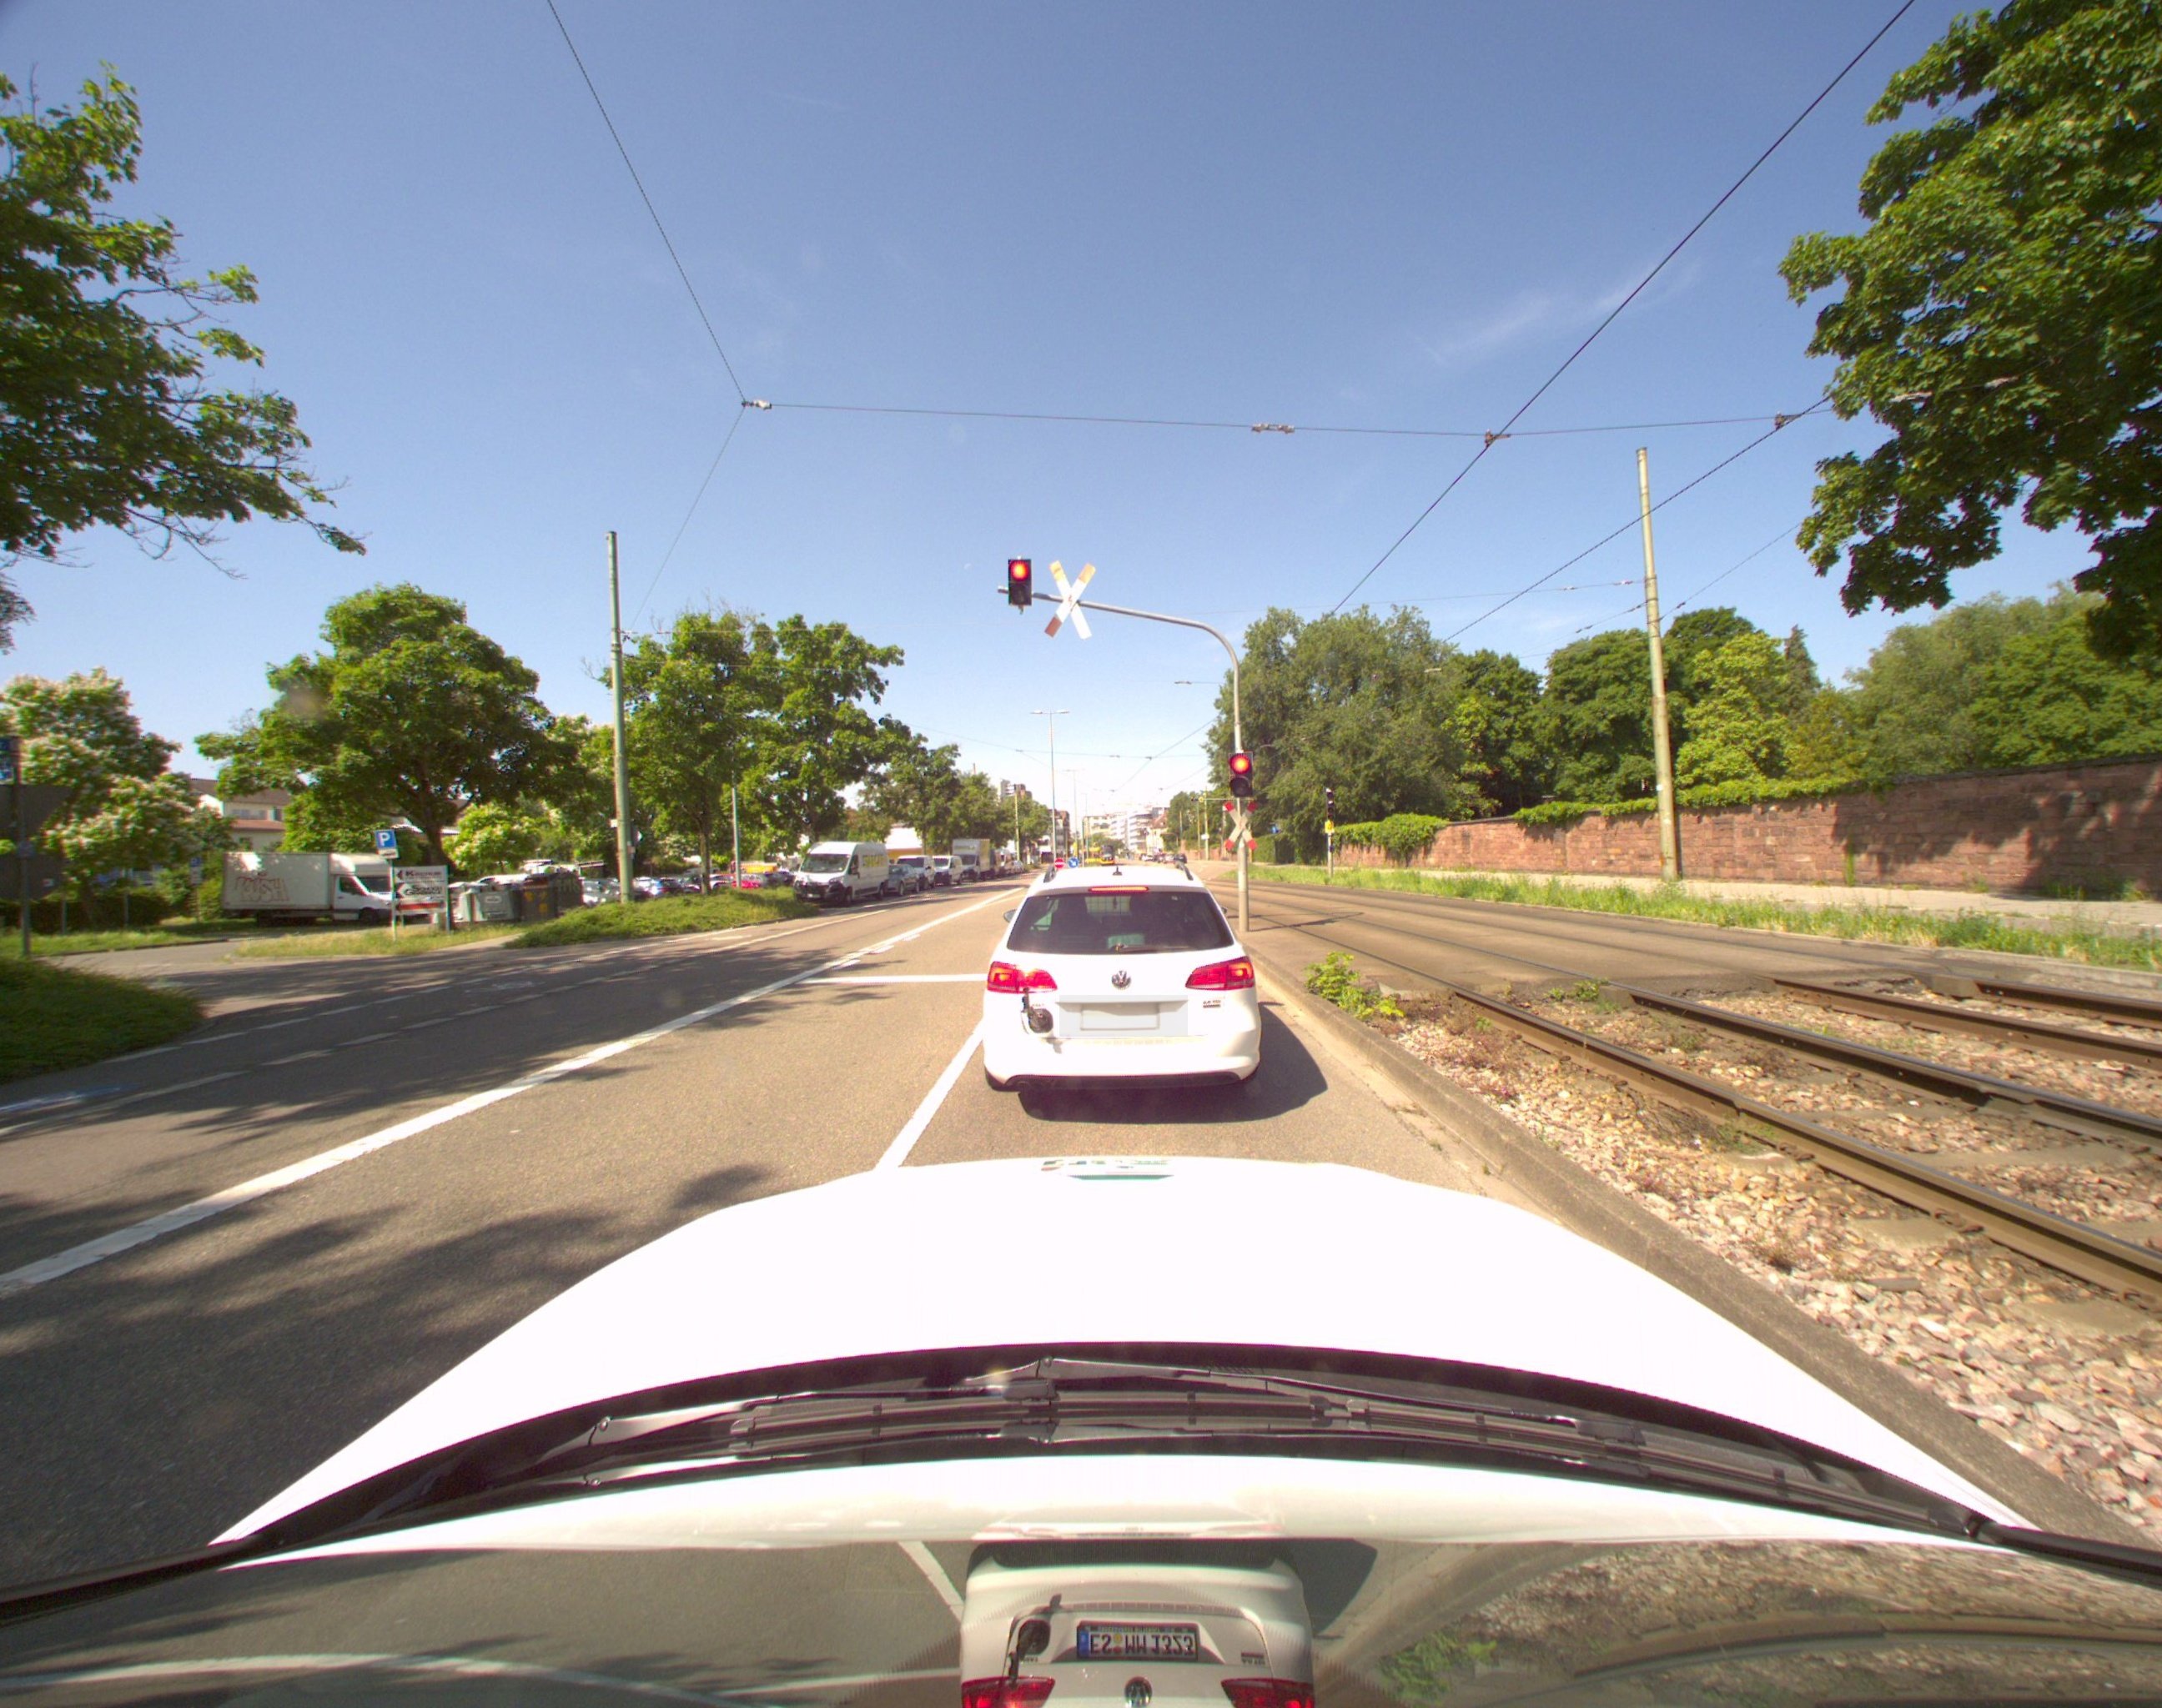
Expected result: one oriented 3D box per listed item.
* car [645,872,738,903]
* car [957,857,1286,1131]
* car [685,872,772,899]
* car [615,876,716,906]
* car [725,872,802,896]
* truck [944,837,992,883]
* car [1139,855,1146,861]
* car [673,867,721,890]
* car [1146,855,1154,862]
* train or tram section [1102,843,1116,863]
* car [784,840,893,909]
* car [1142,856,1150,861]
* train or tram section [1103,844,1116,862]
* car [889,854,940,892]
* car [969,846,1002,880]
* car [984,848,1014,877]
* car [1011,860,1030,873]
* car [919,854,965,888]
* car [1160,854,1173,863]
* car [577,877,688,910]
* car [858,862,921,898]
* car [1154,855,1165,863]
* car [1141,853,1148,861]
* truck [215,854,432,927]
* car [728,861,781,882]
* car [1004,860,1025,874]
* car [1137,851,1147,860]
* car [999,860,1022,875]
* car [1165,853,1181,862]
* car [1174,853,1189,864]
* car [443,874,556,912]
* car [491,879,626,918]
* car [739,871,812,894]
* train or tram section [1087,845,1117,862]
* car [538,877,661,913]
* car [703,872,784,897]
[{"bbox_3d":[-20.298,1.727,42.527,3.969,1.350,1.773,-3,0,4],"label":"car"},{"bbox_3d":[0.252,0.761,6.339,1.762,1.446,3.913,0,0,1],"label":"car"},{"bbox_3d":[-19.421,1.729,44.925,3.969,1.264,1.773,-3,0,4],"label":"car"},{"bbox_3d":[-20.289,1.801,39.843,3.969,1.225,1.773,-3,0,4],"label":"car"},{"bbox_3d":[-19.521,1.821,50.121,3.969,1.225,1.773,-3,0,4],"label":"car"},{"bbox_3d":[-8.330,0.409,60.750,2.348,3.122,6.892,-3,0,1],"label":"truck"},{"bbox_3d":[18.581,1.271,246.218,1.986,1.596,4.002,0,-1,2],"label":"car"},{"bbox_3d":[-34.362,2.176,72.915,3.412,1.876,1.552,-3,0,-1],"label":"car"},{"bbox_3d":[15.027,0.976,176.878,1.576,1.346,3.455,0,-1,1],"label":"car"},{"bbox_3d":[4.732,-0.115,137.708,2.292,3.253,11.279,0,-1,2],"label":"train or tram section"},{"bbox_3d":[-9.563,0.717,32.777,2.049,2.501,6.315,0,0,4],"label":"car"},{"bbox_3d":[15.641,1.094,196.020,1.576,1.346,3.455,0,-1,1],"label":"car"},{"bbox_3d":[5.244,-0.118,148.479,2.292,3.253,10.815,0,-1,3],"label":"train or tram section"},{"bbox_3d":[-9.256,1.023,45.682,1.839,1.937,5.189,-3,0,-2],"label":"car"},{"bbox_3d":[-7.962,0.752,68.516,1.836,2.668,5.006,-3,0,2],"label":"car"},{"bbox_3d":[-7.620,0.736,76.020,1.836,2.494,5.860,-3,0,2],"label":"car"},{"bbox_3d":[-7.137,1.477,96.950,1.774,1.433,4.039,-3,0,2],"label":"car"},{"bbox_3d":[-8.851,1.025,52.306,1.836,1.960,5.137,-3,0,2],"label":"car"},{"bbox_3d":[14.529,0.692,138.360,1.855,1.513,3.913,0,0,0],"label":"car"},{"bbox_3d":[-20.106,1.750,36.611,3.969,1.225,1.773,-3,0,4],"label":"car"},{"bbox_3d":[-9.080,1.196,39.041,1.837,1.516,4.199,-3,0,2],"label":"car"},{"bbox_3d":[14.817,0.924,154.444,1.740,1.407,3.912,0,0,-1],"label":"car"},{"bbox_3d":[16.237,0.770,208.860,1.685,1.812,3.455,0,-1,1],"label":"car"},{"bbox_3d":[-32.457,1.523,35.046,7.119,3.019,2.231,0,0,-1],"label":"truck"},{"bbox_3d":[-31.212,1.685,77.944,4.249,2.014,1.997,0,-1,-5],"label":"car"},{"bbox_3d":[-7.421,1.496,91.722,1.837,1.433,4.039,-3,0,2],"label":"car"},{"bbox_3d":[17.092,0.519,229.727,2.454,2.499,5.912,0,-1,1],"label":"car"},{"bbox_3d":[-7.414,1.416,85.806,1.837,1.433,4.039,-3,0,2],"label":"car"},{"bbox_3d":[13.776,0.497,122.391,1.855,1.416,4.325,0,0,0],"label":"car"},{"bbox_3d":[13.522,0.575,109.771,1.739,1.388,3.916,-1,0,3],"label":"car"},{"bbox_3d":[-32.235,2.155,45.251,4.683,2.014,1.997,0,-1,-4],"label":"car"},{"bbox_3d":[-20.008,1.696,31.306,3.974,1.225,1.771,-3,0,0],"label":"car"},{"bbox_3d":[-19.647,1.846,52.449,3.969,1.225,1.773,-3,0,4],"label":"car"},{"bbox_3d":[4.031,0.001,158.487,2.308,3.253,10.739,0,-1,-18],"label":"train or tram section"},{"bbox_3d":[-19.912,1.698,33.786,3.974,1.225,1.771,-3,0,0],"label":"car"},{"bbox_3d":[-19.656,1.783,47.527,3.969,1.225,1.773,-3,0,4],"label":"car"}]
